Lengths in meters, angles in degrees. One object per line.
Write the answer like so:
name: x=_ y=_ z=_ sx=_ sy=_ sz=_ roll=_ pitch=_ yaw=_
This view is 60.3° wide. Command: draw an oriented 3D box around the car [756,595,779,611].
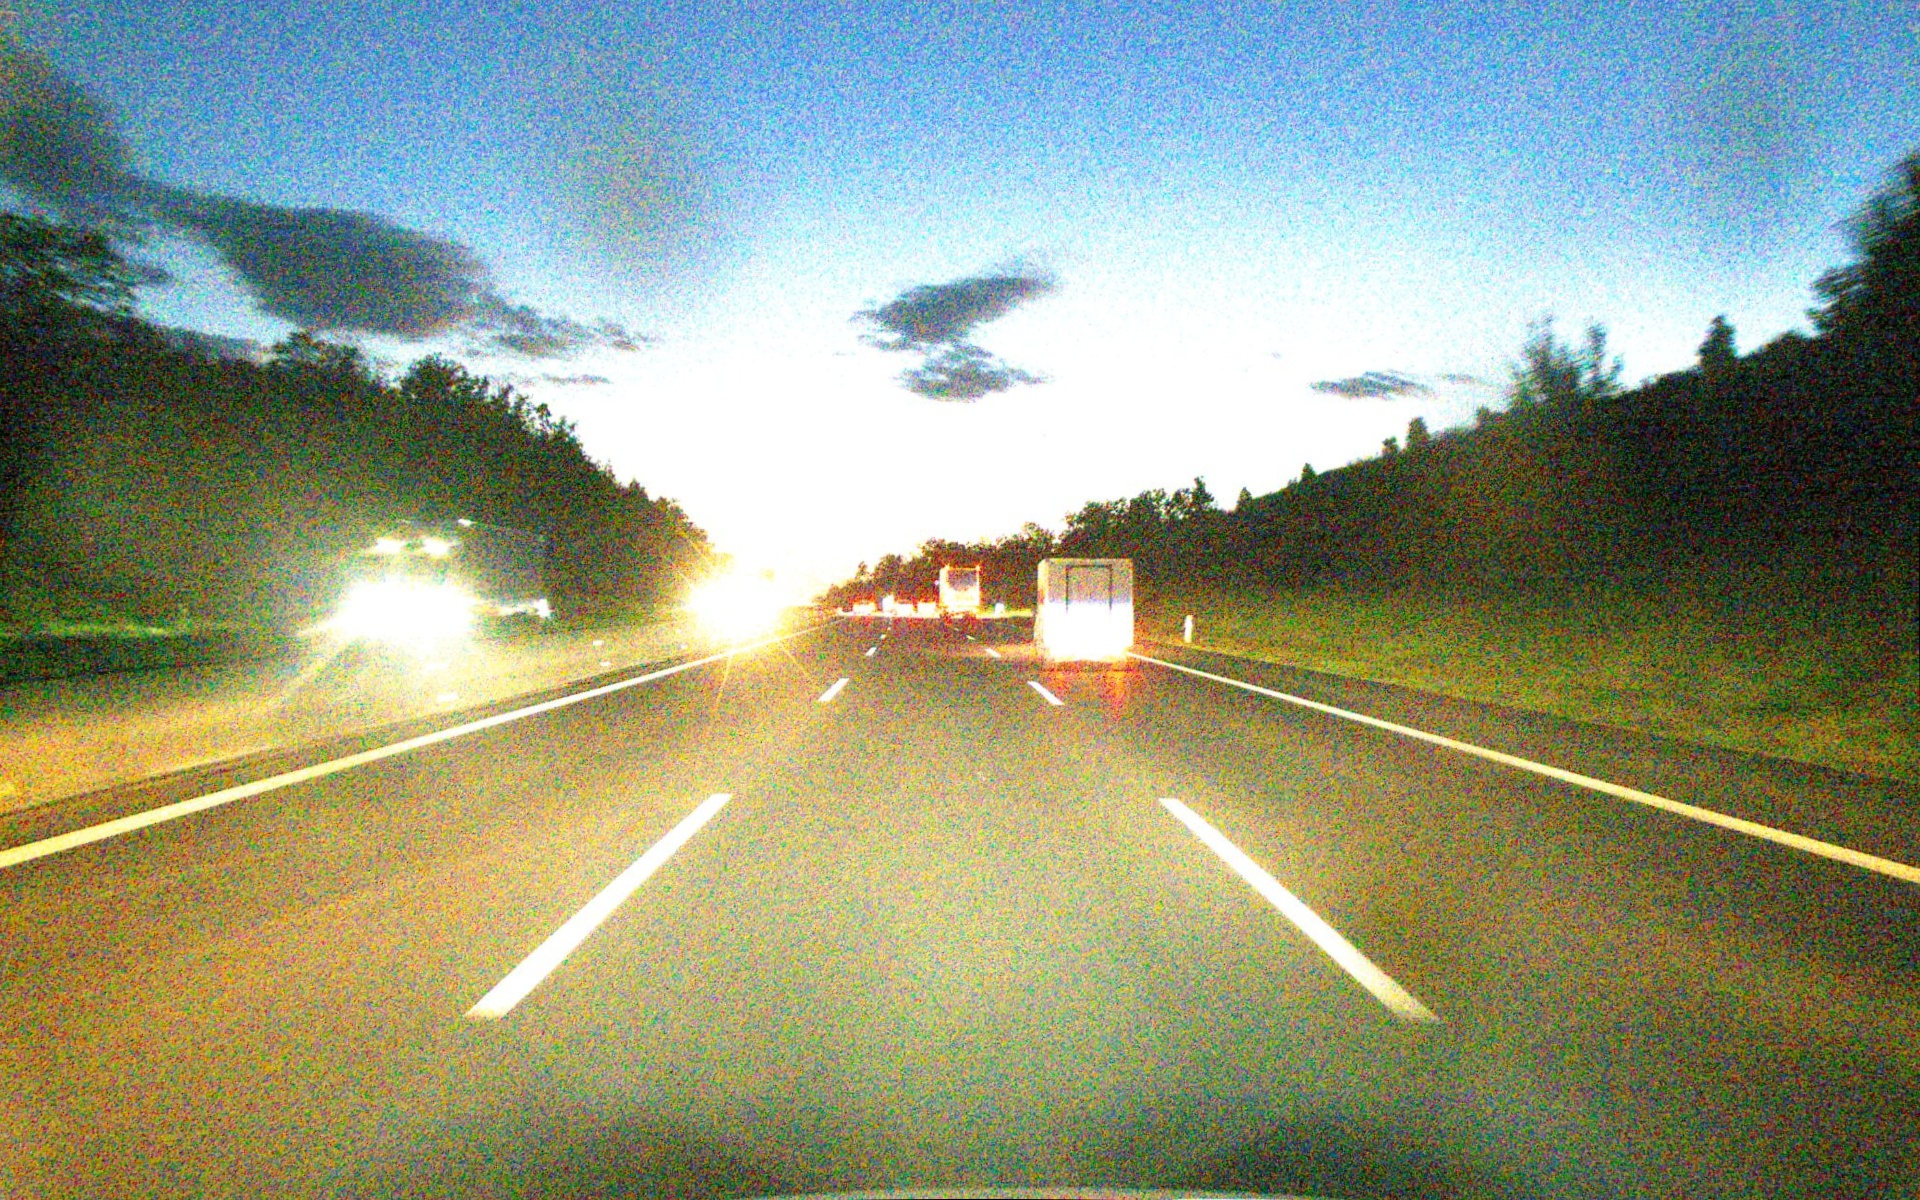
car: x=-21.155 y=0.292 z=182.187 sx=2.200 sy=1.697 sz=4.886 roll=0 pitch=0 yaw=-3

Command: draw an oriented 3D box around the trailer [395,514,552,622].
trailer: x=-19.983 y=-1.205 z=69.049 sx=2.796 sy=4.050 sz=13.881 roll=0 pitch=0 yaw=-2

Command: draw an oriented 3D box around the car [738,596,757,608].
car: x=-29.598 y=0.243 z=230.663 sx=2.200 sy=1.697 sz=4.884 roll=0 pitch=0 yaw=-3

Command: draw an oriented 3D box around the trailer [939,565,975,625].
trailer: x=-0.336 y=-0.241 z=135.173 sx=2.772 sy=4.331 sz=17.043 roll=0 pitch=-2 yaw=-1

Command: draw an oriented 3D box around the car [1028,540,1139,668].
car: x=2.730 y=0.091 z=37.872 sx=1.991 sy=2.693 sz=5.723 roll=0 pitch=0 yaw=-1

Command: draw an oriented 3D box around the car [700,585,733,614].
car: x=-18.674 y=-0.075 z=127.157 sx=2.201 sy=2.138 sz=5.708 roll=0 pitch=0 yaw=-6

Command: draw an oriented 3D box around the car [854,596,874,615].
car: x=-9.662 y=0.595 z=166.096 sx=1.955 sy=1.825 sz=3.995 roll=1 pitch=-2 yaw=-5

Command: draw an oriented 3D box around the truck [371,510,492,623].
truck: x=-19.796 y=-1.204 z=62.288 sx=2.796 sy=4.050 sz=5.858 roll=0 pitch=0 yaw=-2

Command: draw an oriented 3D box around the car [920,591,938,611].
car: x=-3.589 y=0.111 z=191.402 sx=1.954 sy=2.154 sz=3.997 roll=0 pitch=-2 yaw=-3

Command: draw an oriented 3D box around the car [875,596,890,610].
car: x=-10.915 y=0.428 z=234.156 sx=1.953 sy=1.848 sz=3.999 roll=0 pitch=-2 yaw=-1

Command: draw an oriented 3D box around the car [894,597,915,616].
car: x=-5.528 y=0.637 z=164.712 sx=1.953 sy=1.825 sz=3.999 roll=0 pitch=-2 yaw=0
